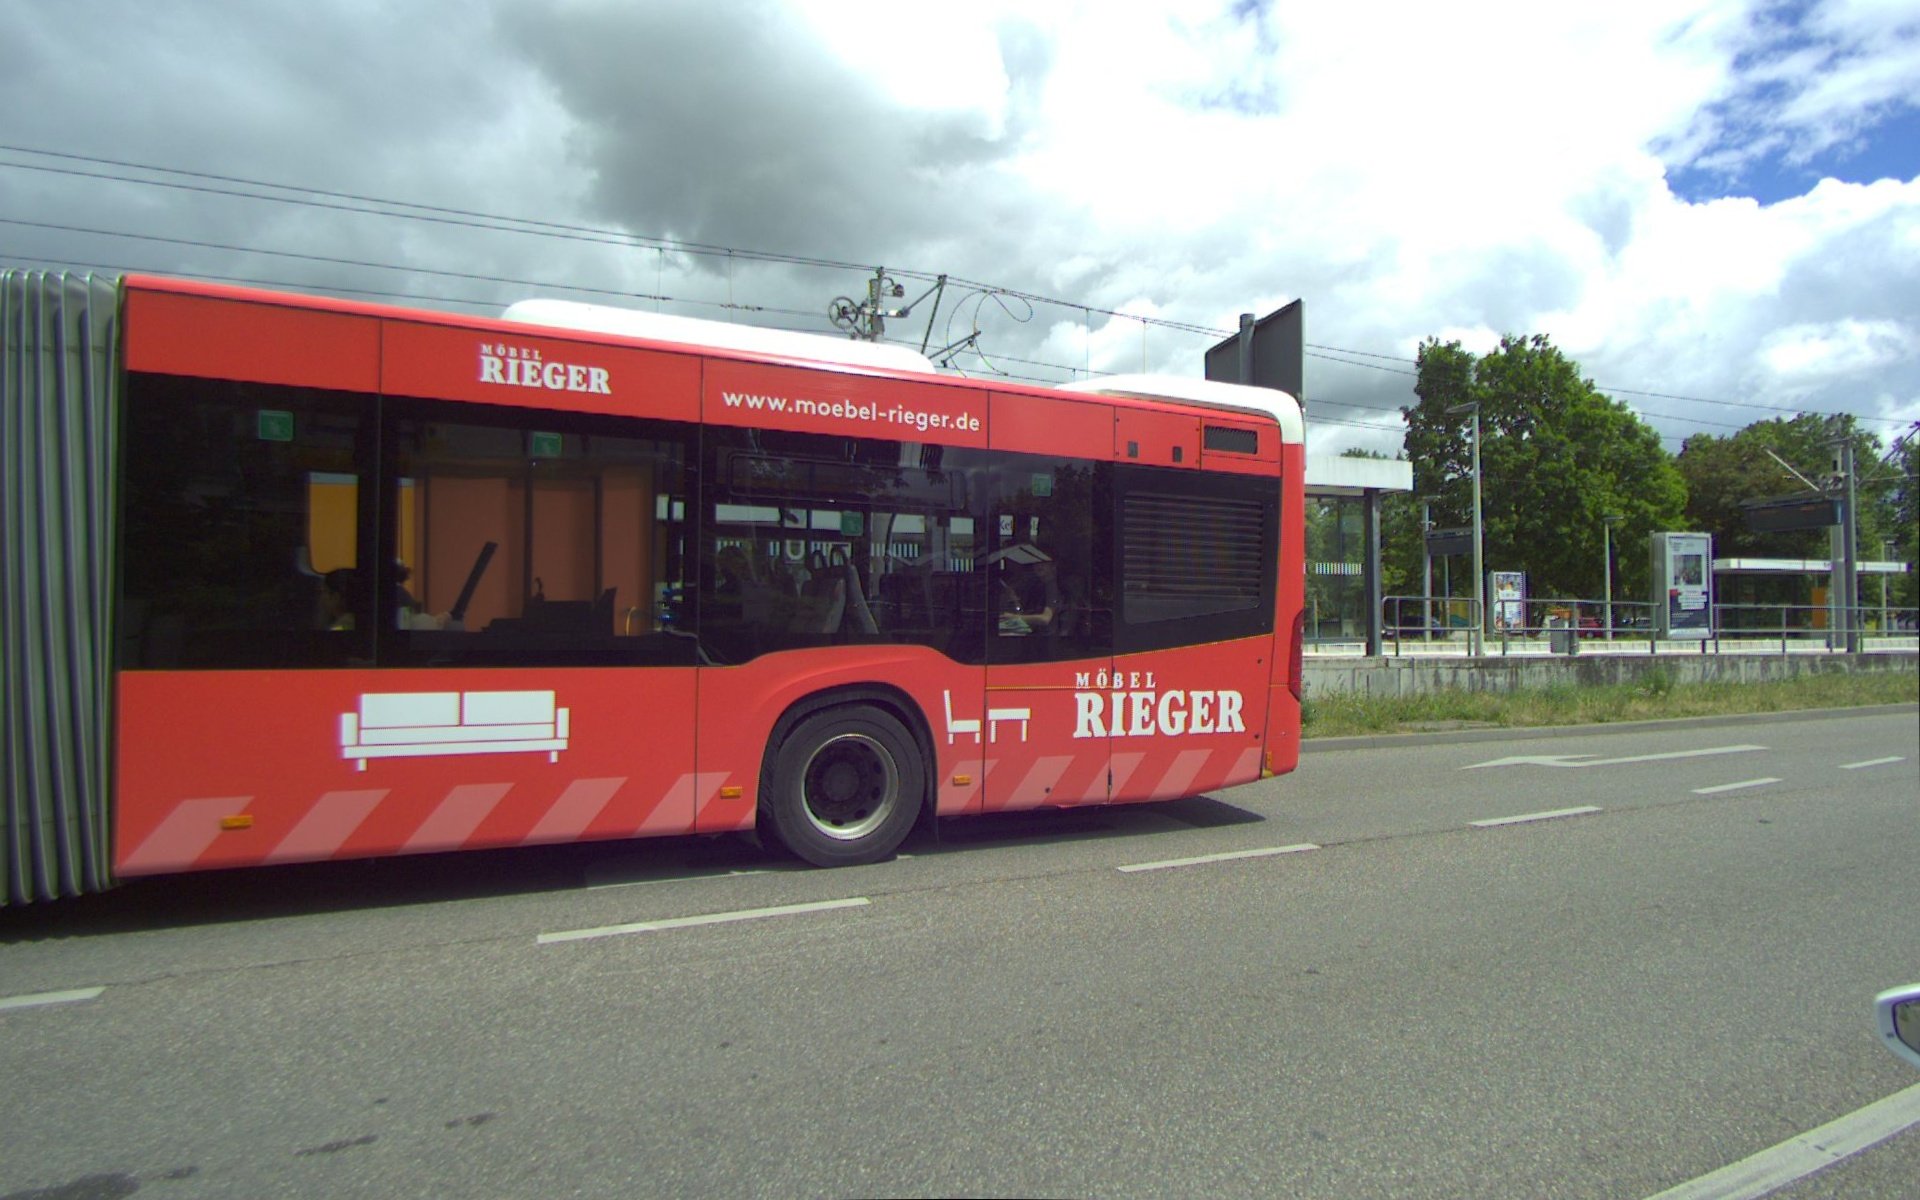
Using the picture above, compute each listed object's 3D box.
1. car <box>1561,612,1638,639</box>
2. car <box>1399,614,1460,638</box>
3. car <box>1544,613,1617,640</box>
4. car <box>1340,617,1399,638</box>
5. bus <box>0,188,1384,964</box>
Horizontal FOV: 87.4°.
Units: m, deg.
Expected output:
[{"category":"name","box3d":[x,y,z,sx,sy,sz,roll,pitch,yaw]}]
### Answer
[{"category":"car","box3d":[43.367,1.707,68.200,1.947,1.706,3.977,-1,0,-24]},{"category":"car","box3d":[35.885,1.972,76.855,2.155,1.751,3.985,-1,0,-17]},{"category":"car","box3d":[41.389,1.734,67.065,2.024,1.728,3.627,-1,0,-24]},{"category":"car","box3d":[30.882,2.066,75.799,1.944,1.511,3.806,-1,0,-27]},{"category":"bus","box3d":[-1.604,-0.061,6.503,8.837,3.110,2.719,0,-1,-24]}]
